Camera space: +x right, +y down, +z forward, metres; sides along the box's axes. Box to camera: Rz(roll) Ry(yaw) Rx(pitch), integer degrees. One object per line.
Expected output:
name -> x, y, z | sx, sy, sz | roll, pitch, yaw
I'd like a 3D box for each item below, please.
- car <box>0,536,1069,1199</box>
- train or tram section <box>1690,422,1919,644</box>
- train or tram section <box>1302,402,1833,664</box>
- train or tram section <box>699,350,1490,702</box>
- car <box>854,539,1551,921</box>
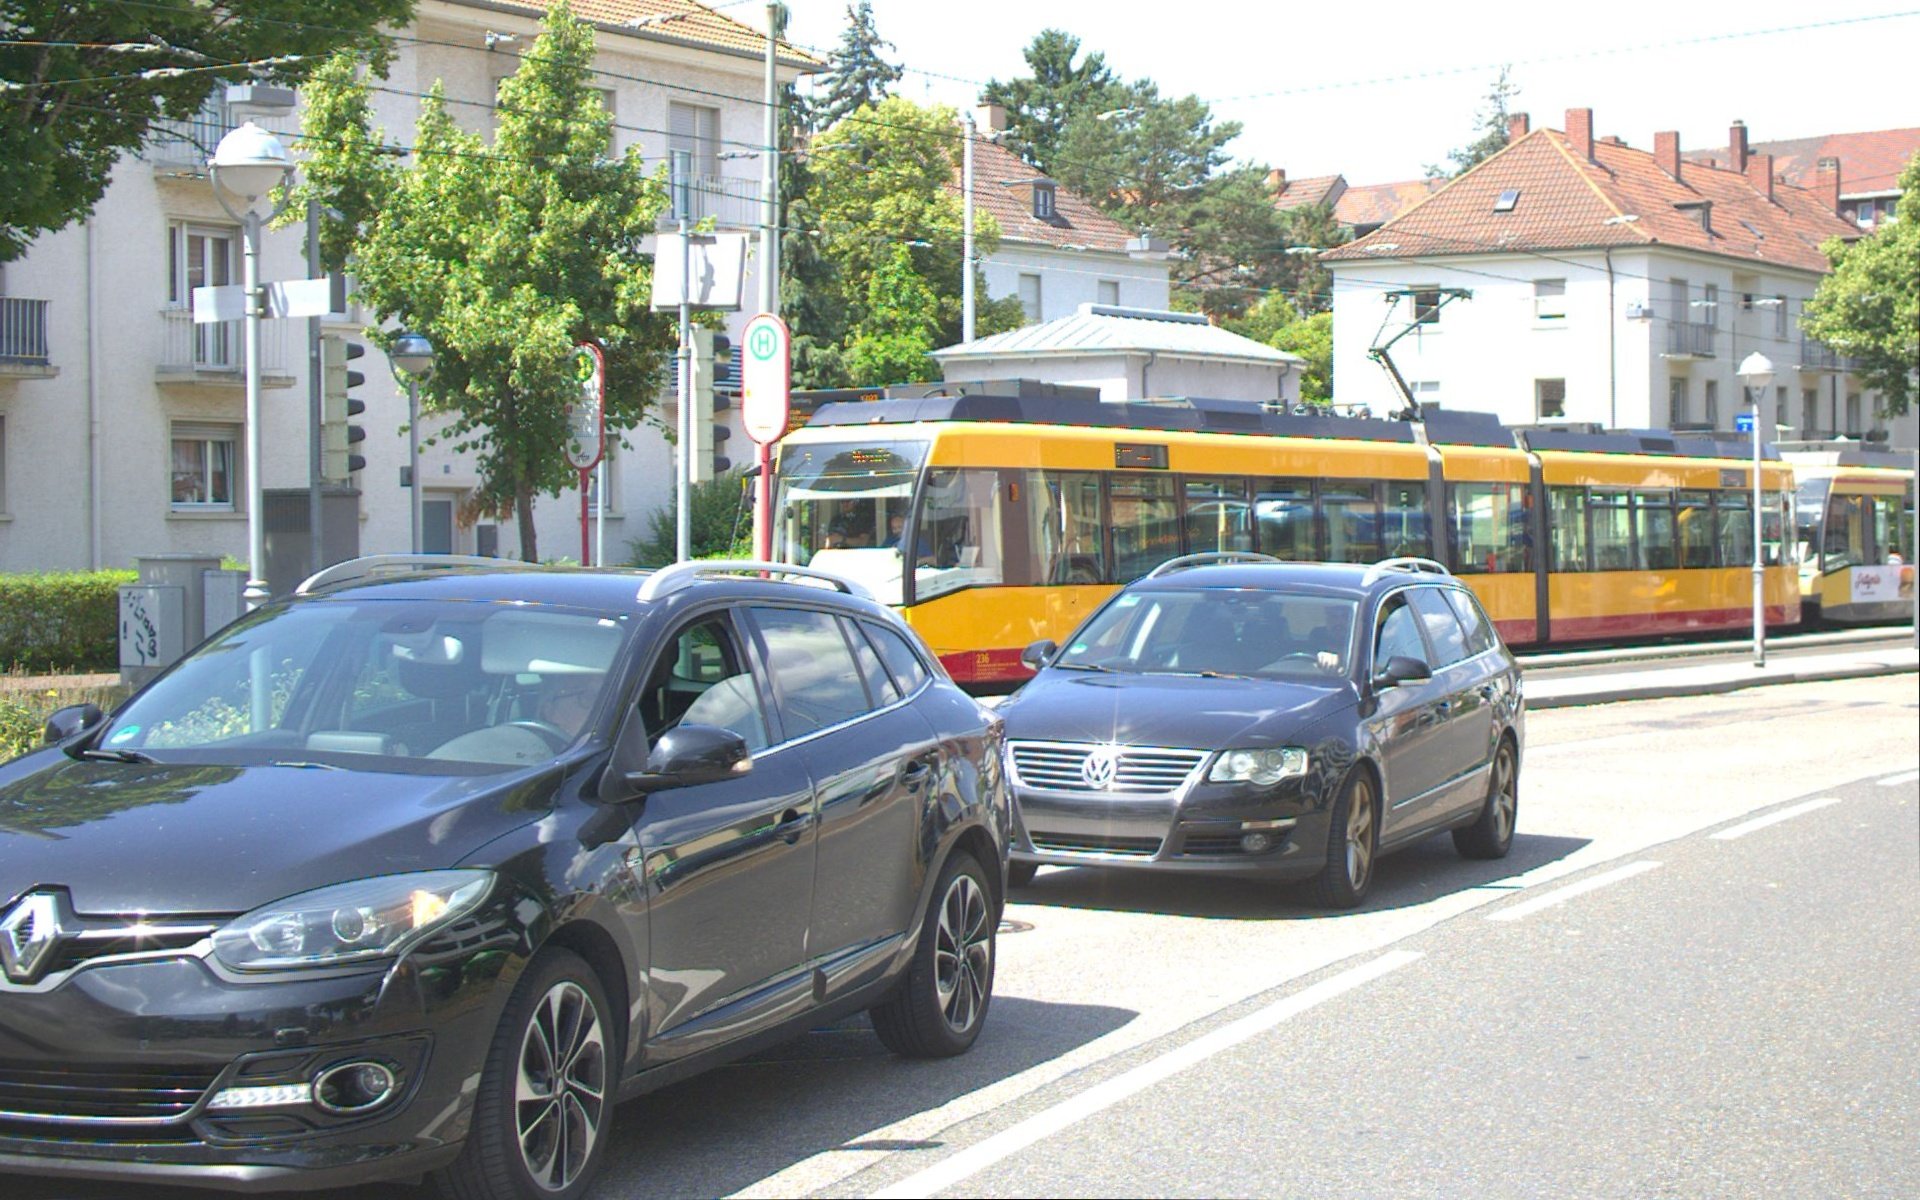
car -> -1.344, 0.589, 9.164 | 1.995, 1.495, 4.421 | 1, 1, 20
train or tram section -> 18.368, -1.269, 67.223 | 2.790, 3.882, 15.523 | 1, 1, 32
train or tram section -> 9.898, -1.003, 53.633 | 2.790, 3.556, 14.678 | 1, 1, 32
train or tram section -> 2.217, -0.838, 41.455 | 2.814, 3.556, 14.155 | 1, 1, 32
car -> 1.318, 0.487, 16.237 | 1.996, 1.514, 4.507 | 1, 1, 22
